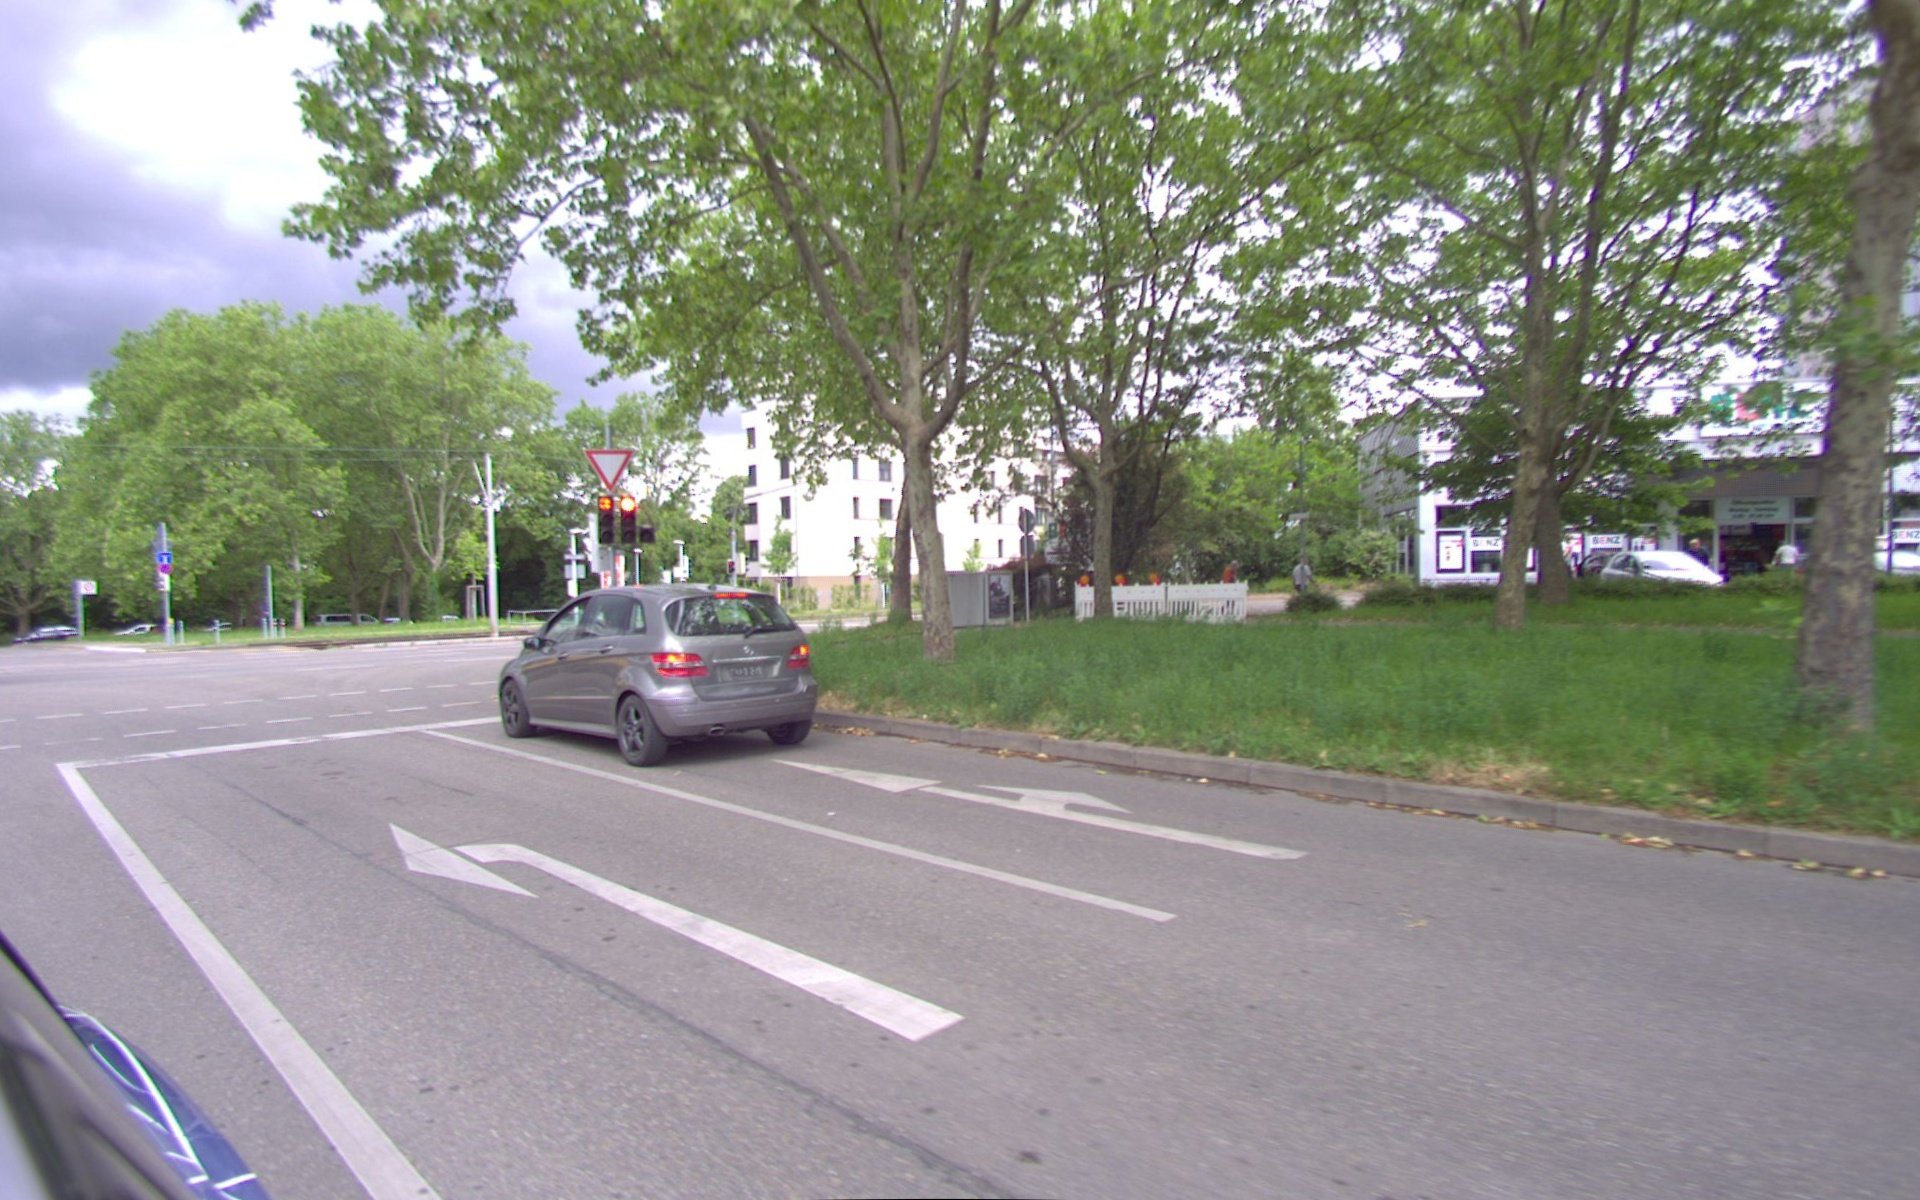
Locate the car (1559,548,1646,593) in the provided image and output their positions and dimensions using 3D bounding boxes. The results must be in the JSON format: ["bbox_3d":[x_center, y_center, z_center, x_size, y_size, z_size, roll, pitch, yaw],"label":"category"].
[{"bbox_3d":[23.659,-1.034,37.440,1.720,1.511,4.242,-1,0,19],"label":"car"}]

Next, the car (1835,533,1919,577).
[{"bbox_3d":[32.934,-1.586,35.912,1.471,1.415,3.393,-1,0,14],"label":"car"}]

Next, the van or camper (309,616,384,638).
[{"bbox_3d":[-50.726,2.244,83.742,4.933,1.544,1.866,-2,0,-45],"label":"van or camper"}]

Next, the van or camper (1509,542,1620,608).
[{"bbox_3d":[17.280,-0.705,29.133,1.831,1.696,3.977,-2,0,18],"label":"van or camper"}]

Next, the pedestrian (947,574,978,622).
[{"bbox_3d":[0.074,-0.061,32.620,0.688,1.500,0.721,-1,0,-41],"label":"pedestrian"}]

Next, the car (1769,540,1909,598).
[{"bbox_3d":[23.334,-0.782,27.018,1.471,1.415,3.391,-1,0,16],"label":"car"}]

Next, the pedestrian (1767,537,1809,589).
[{"bbox_3d":[31.125,-1.378,38.040,1.044,1.885,1.076,-1,0,-45],"label":"pedestrian"}]

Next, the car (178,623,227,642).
[{"bbox_3d":[-61.034,2.595,81.584,3.090,1.354,1.450,-2,0,-38],"label":"car"}]

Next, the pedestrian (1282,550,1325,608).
[{"bbox_3d":[9.701,-0.594,28.601,0.837,1.598,0.798,-1,0,-37],"label":"pedestrian"}]

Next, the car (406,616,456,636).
[{"bbox_3d":[-48.864,2.387,93.493,1.700,1.661,3.757,-1,1,41],"label":"car"}]

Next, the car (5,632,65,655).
[{"bbox_3d":[-68.181,3.214,74.641,3.090,1.513,1.607,-2,0,-38],"label":"car"}]

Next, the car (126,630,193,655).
[{"bbox_3d":[-59.055,3.105,74.661,3.730,1.674,1.666,-1,0,-45],"label":"car"}]

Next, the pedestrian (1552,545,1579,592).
[{"bbox_3d":[22.827,-1.179,38.170,0.614,1.758,0.737,-1,0,12],"label":"pedestrian"}]

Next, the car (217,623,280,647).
[{"bbox_3d":[-55.407,2.684,78.843,1.665,1.674,3.731,-1,0,44],"label":"car"}]

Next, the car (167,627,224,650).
[{"bbox_3d":[-62.778,3.160,83.113,3.572,1.674,1.666,-1,0,-44],"label":"car"}]

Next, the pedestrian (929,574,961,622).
[{"bbox_3d":[-0.476,-0.056,32.123,0.689,1.500,0.689,-1,0,-42],"label":"pedestrian"}]

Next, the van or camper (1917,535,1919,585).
[{"bbox_3d":[26.684,-1.111,25.825,1.502,1.367,3.761,-1,0,12],"label":"van or camper"}]

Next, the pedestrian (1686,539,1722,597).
[{"bbox_3d":[20.861,-0.881,28.373,0.795,1.598,0.789,-1,0,37],"label":"pedestrian"}]

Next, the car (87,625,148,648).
[{"bbox_3d":[-65.027,2.813,78.183,3.539,1.548,1.877,-2,0,-38],"label":"car"}]

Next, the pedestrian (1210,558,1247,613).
[{"bbox_3d":[7.755,-0.412,29.198,0.644,1.550,0.775,-1,0,-31],"label":"pedestrian"}]

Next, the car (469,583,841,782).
[{"bbox_3d":[-3.293,0.680,10.342,4.414,1.598,1.747,-1,0,45],"label":"car"}]
